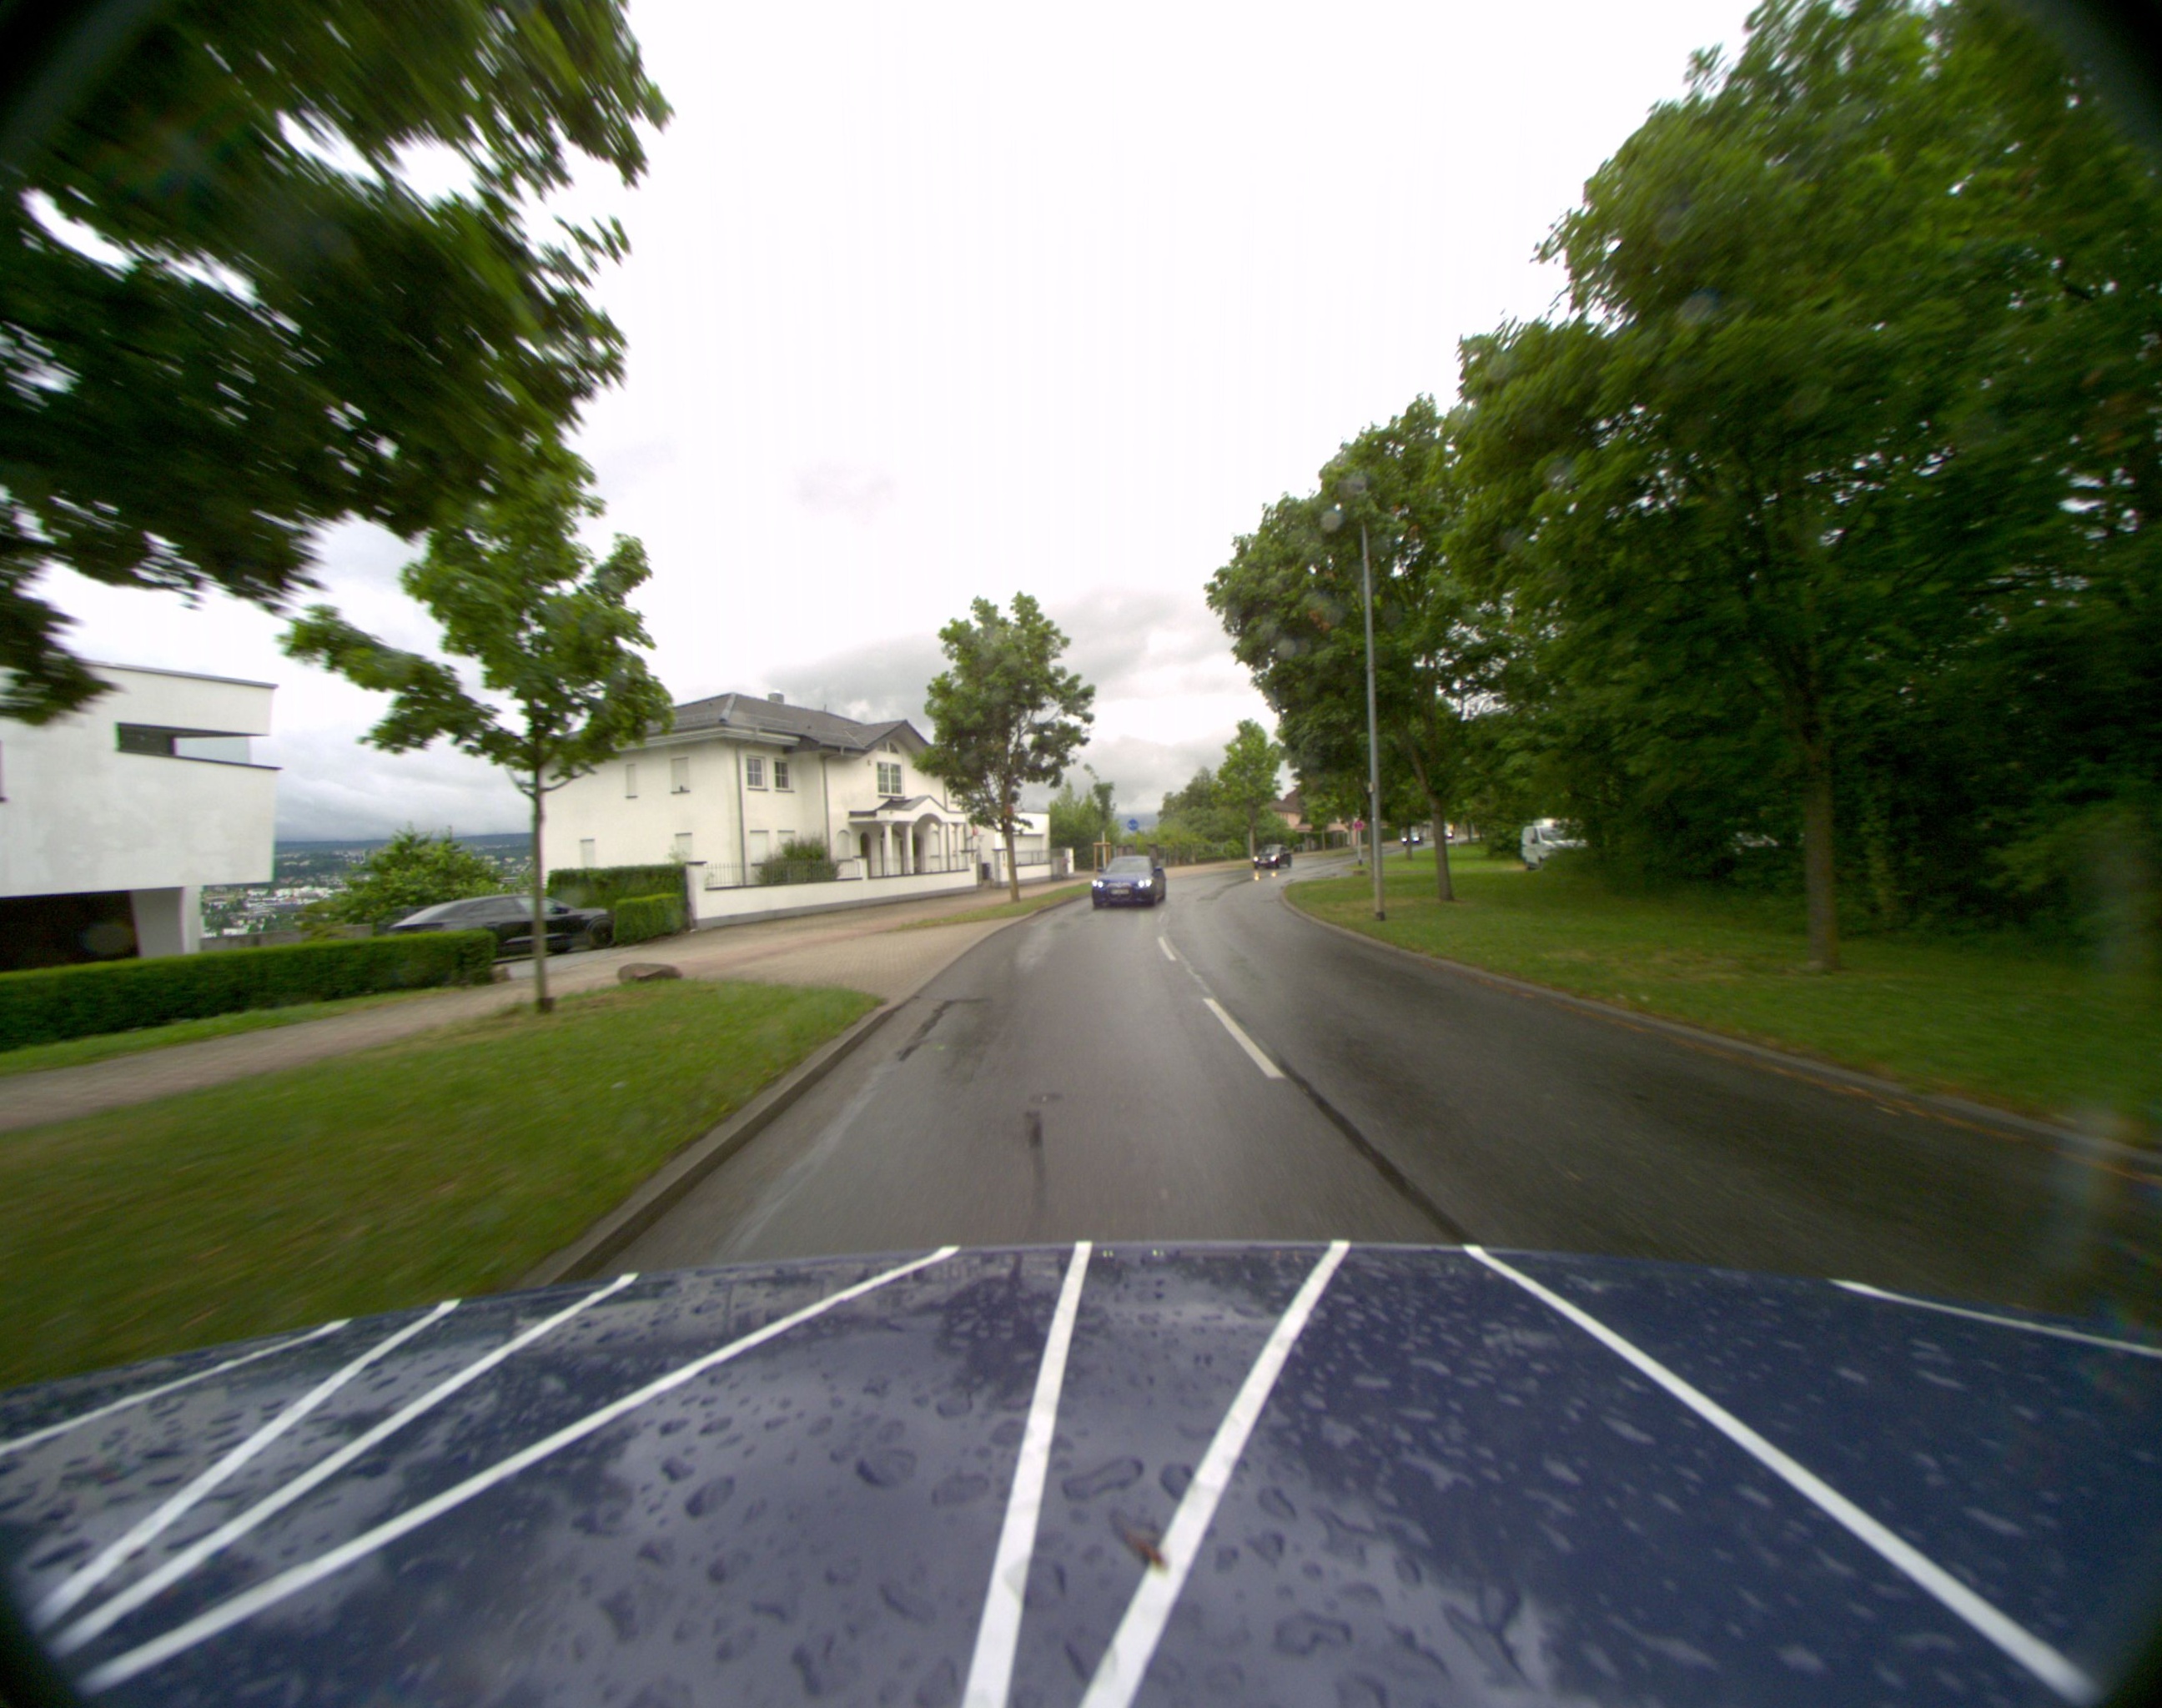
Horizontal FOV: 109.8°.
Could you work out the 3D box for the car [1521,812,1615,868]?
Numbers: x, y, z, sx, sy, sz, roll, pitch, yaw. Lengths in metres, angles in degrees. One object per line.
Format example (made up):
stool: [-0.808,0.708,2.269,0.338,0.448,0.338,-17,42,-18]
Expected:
car: [18.822,-0.439,29.655,2.129,1.974,5.484,-1,-1,22]

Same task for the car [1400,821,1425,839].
car: [40.751,-2.971,93.358,1.995,1.848,4.006,-4,1,33]

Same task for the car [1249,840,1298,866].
car: [12.937,-0.077,50.913,1.926,1.374,4.315,-5,0,31]

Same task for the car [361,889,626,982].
car: [-13.570,1.824,17.935,1.923,1.541,4.466,-5,0,23]

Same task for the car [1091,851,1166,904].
car: [1.567,0.660,23.572,1.814,1.459,3.978,0,1,11]

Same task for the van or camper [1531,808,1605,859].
van or camper: [25.167,-1.105,39.517,2.386,2.347,6.821,-1,2,26]
